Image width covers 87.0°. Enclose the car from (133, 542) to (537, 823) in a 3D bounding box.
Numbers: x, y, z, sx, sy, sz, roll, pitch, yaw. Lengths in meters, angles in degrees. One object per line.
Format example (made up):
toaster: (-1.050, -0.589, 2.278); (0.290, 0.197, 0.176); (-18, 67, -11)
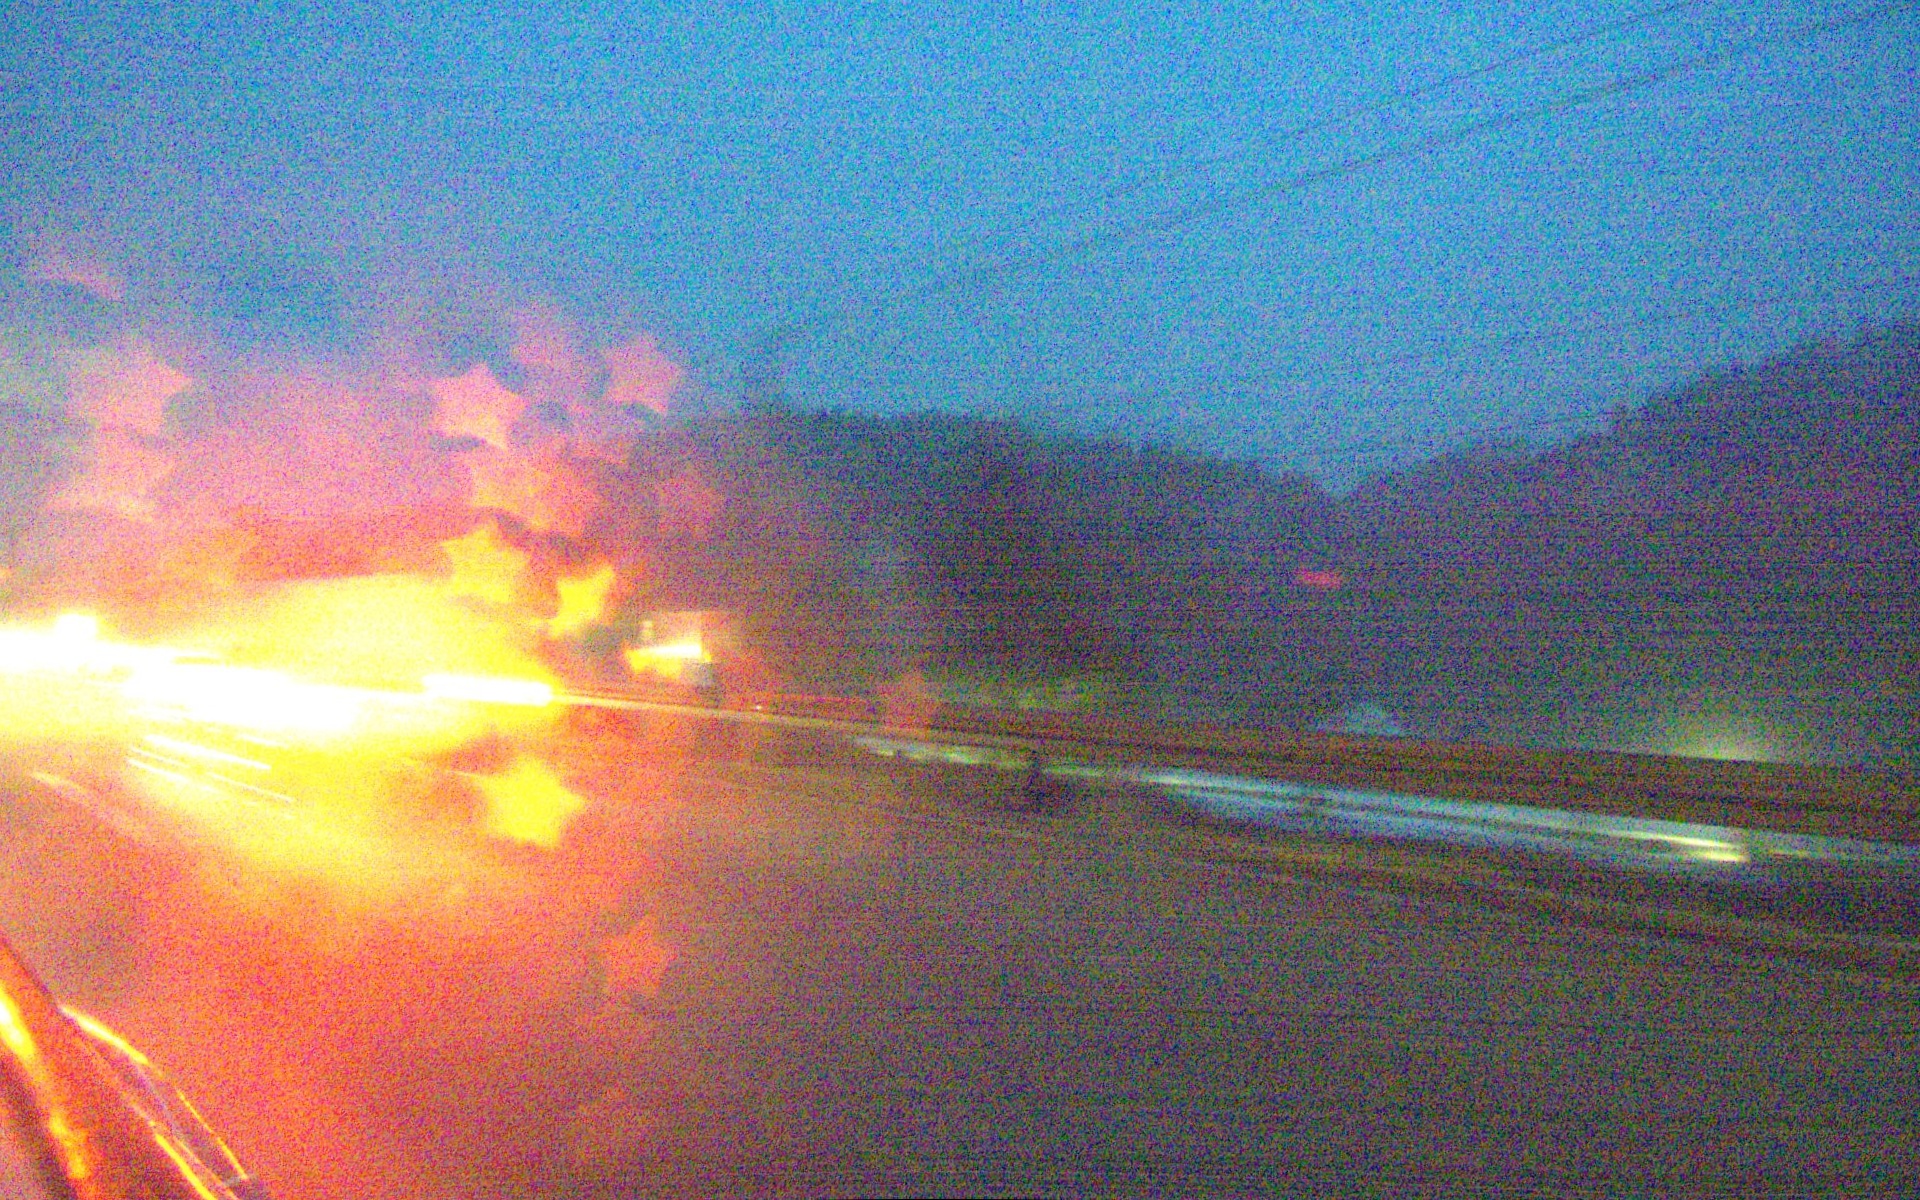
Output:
car: (-5.509, 0.593, 8.731); (3.995, 1.882, 1.740); (-1, -1, 39)
